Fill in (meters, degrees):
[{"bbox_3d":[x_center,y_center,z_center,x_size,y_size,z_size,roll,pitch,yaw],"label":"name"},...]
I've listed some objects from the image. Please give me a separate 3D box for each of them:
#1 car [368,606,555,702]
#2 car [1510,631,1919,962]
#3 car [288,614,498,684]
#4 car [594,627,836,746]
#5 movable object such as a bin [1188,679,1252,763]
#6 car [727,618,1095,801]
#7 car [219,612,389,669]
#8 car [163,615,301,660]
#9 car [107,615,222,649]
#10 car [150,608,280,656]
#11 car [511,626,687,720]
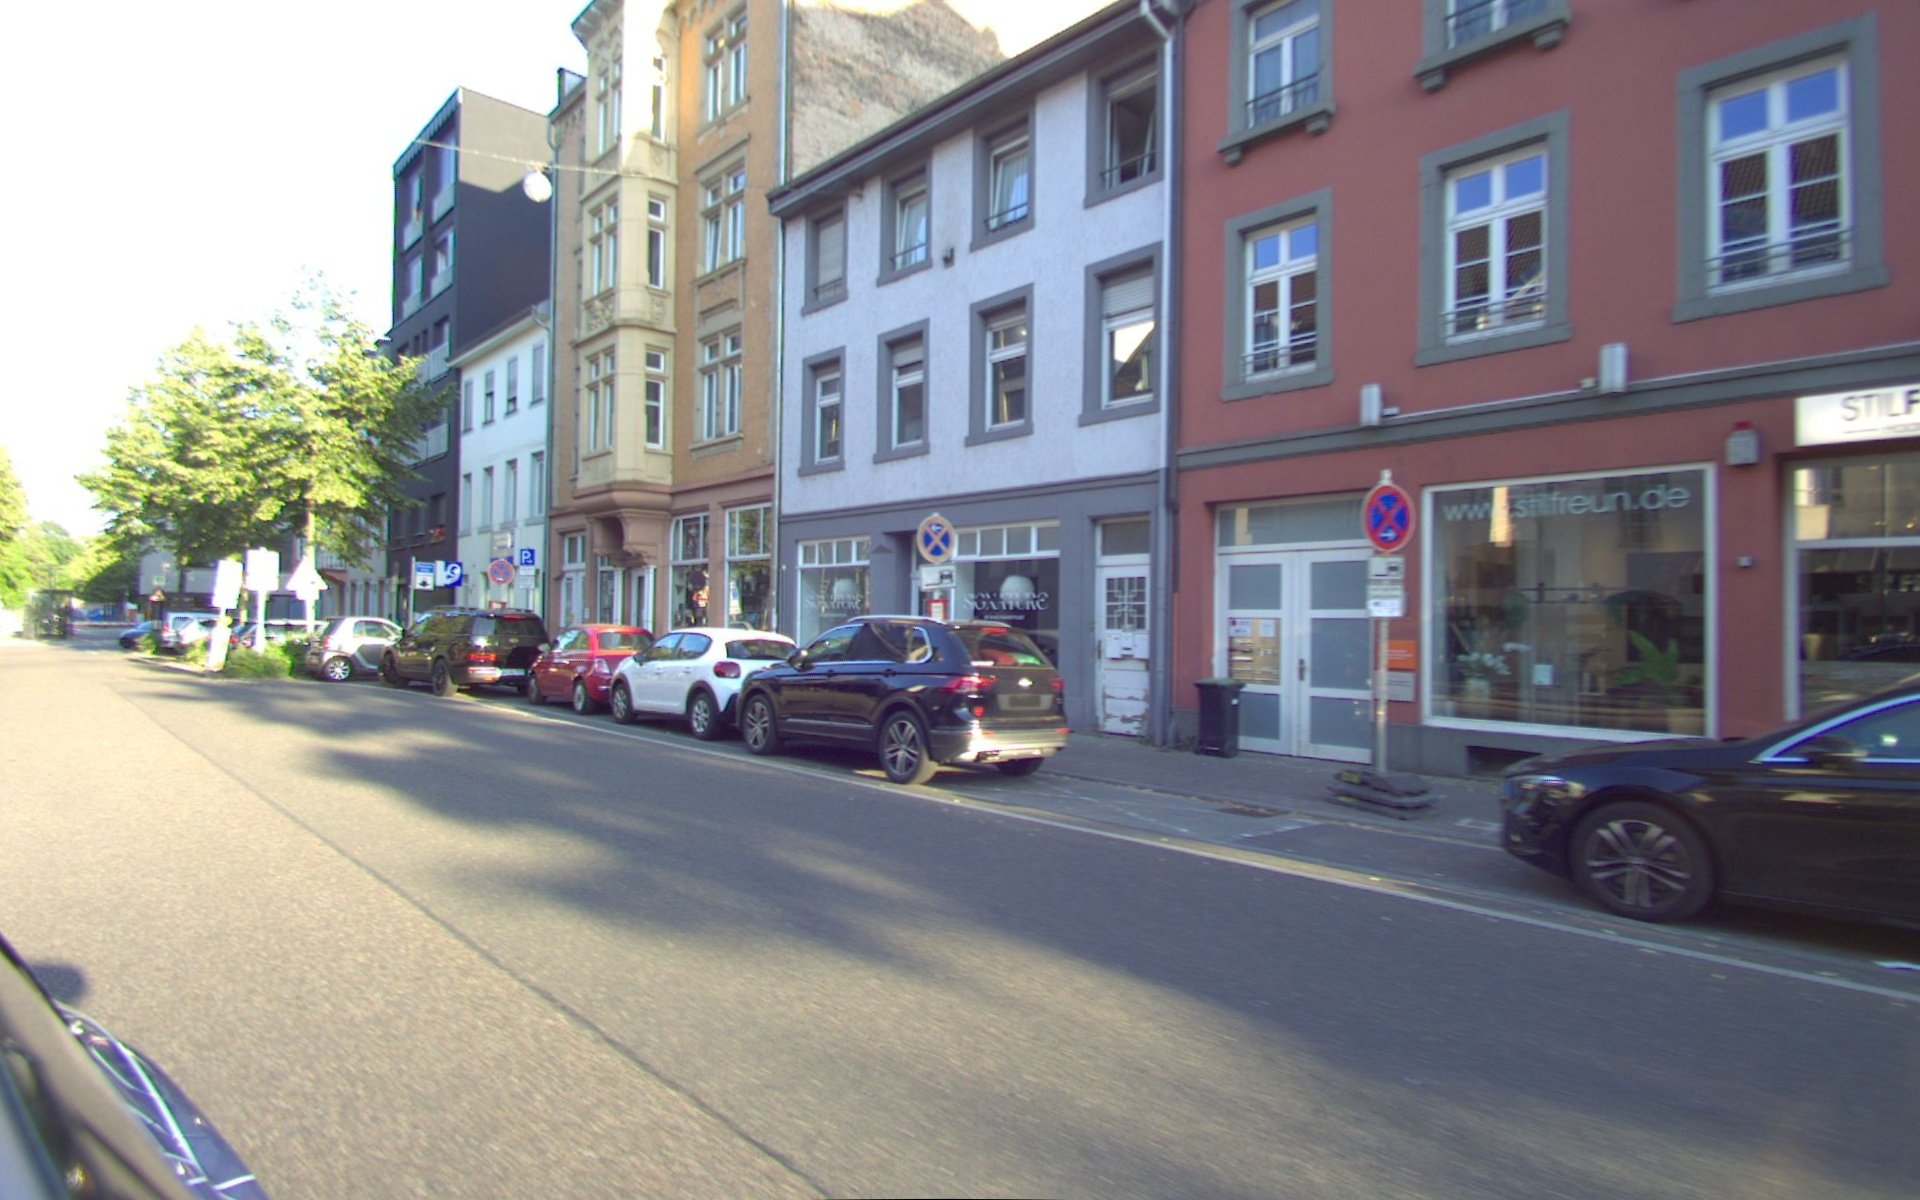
[{"bbox_3d":[-10.237,1.049,20.656,4.218,1.766,2.027,-1,-3,43],"label":"car"},{"bbox_3d":[5.344,0.956,5.078,1.745,1.522,4.222,3,-3,-43],"label":"car"},{"bbox_3d":[-14.132,1.221,25.395,2.056,1.593,4.136,-1,-3,41],"label":"car"},{"bbox_3d":[-3.673,1.158,14.768,1.745,1.475,3.871,3,-3,-43],"label":"car"},{"bbox_3d":[3.113,1.435,12.122,0.583,0.923,0.485,-1,-2,43],"label":"movable object such as a bin"},{"bbox_3d":[-0.709,1.039,11.182,1.745,1.626,4.222,3,-3,-43],"label":"car"},{"bbox_3d":[-19.672,1.221,30.453,1.959,1.593,3.858,-1,-3,41],"label":"car"},{"bbox_3d":[-28.724,1.499,40.012,1.997,1.689,4.075,-1,-3,43],"label":"car"},{"bbox_3d":[-40.964,1.679,52.193,2.047,1.640,4.152,0,-3,29],"label":"car"},{"bbox_3d":[-32.200,1.407,43.812,2.056,1.998,4.136,-1,-3,41],"label":"car"},{"bbox_3d":[-6.463,1.231,17.940,1.665,1.475,3.546,3,-3,-43],"label":"car"}]
